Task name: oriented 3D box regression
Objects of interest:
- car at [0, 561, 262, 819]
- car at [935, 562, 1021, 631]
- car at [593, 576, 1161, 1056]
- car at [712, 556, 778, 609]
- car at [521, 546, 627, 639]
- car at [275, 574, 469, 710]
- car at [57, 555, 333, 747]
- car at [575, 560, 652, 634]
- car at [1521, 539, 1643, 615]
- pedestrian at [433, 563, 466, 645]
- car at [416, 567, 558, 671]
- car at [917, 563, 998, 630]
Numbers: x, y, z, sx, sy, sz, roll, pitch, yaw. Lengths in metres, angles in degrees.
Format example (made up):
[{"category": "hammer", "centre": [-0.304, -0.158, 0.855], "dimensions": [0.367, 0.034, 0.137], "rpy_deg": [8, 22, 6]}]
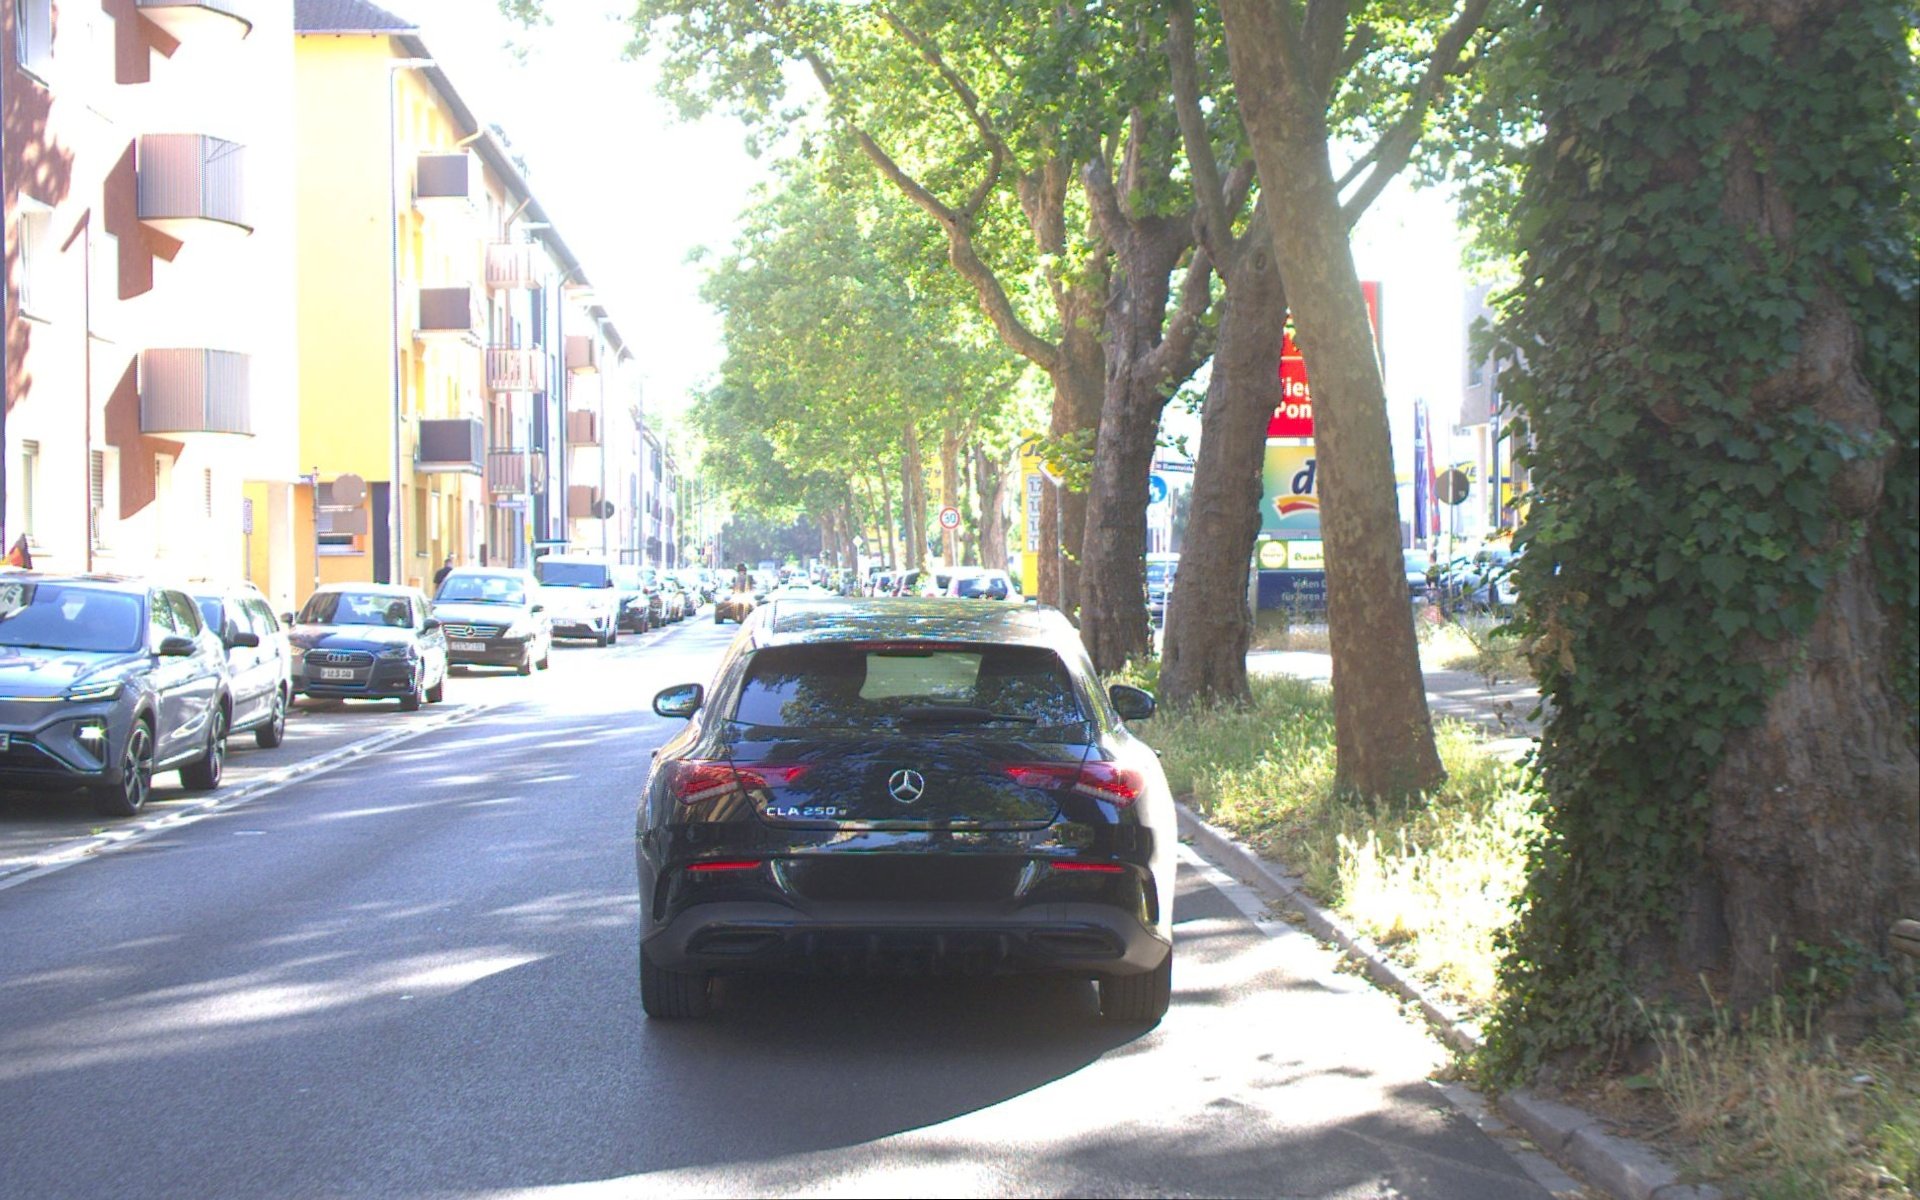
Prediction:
[{"category": "car", "centre": [-6.391, 0.558, 24.530], "dimensions": [1.908, 1.636, 4.577], "rpy_deg": [1, 1, -1]}, {"category": "car", "centre": [0.389, -0.071, 78.174], "dimensions": [1.634, 1.463, 4.022], "rpy_deg": [-2, 0, -4]}, {"category": "car", "centre": [-0.147, 0.655, 12.661], "dimensions": [1.744, 1.438, 3.968], "rpy_deg": [1, 1, 3]}, {"category": "car", "centre": [-6.313, -0.537, 101.353], "dimensions": [1.771, 1.473, 4.322], "rpy_deg": [-2, 1, -2]}, {"category": "car", "centre": [-8.253, -0.184, 73.849], "dimensions": [1.734, 1.900, 5.209], "rpy_deg": [0, 1, -1]}, {"category": "car", "centre": [-6.861, 0.455, 40.438], "dimensions": [1.678, 1.481, 3.601], "rpy_deg": [1, 1, -1]}, {"category": "car", "centre": [-6.998, 0.418, 31.818], "dimensions": [1.678, 1.636, 3.985], "rpy_deg": [1, 1, -1]}, {"category": "car", "centre": [-8.727, -0.096, 86.823], "dimensions": [1.745, 1.781, 4.550], "rpy_deg": [1, 1, -4]}, {"category": "car", "centre": [14.630, -0.556, 81.060], "dimensions": [1.985, 1.727, 4.181], "rpy_deg": [-1, 1, -2]}, {"category": "pedestrian", "centre": [-11.178, 0.088, 75.279], "dimensions": [0.587, 1.784, 0.642], "rpy_deg": [-1, 0, -1]}, {"category": "car", "centre": [-7.343, 0.267, 53.668], "dimensions": [1.678, 1.518, 4.021], "rpy_deg": [1, 1, -1]}, {"category": "car", "centre": [-0.086, -0.087, 84.995], "dimensions": [1.810, 1.533, 4.583], "rpy_deg": [-3, 0, -2]}]
